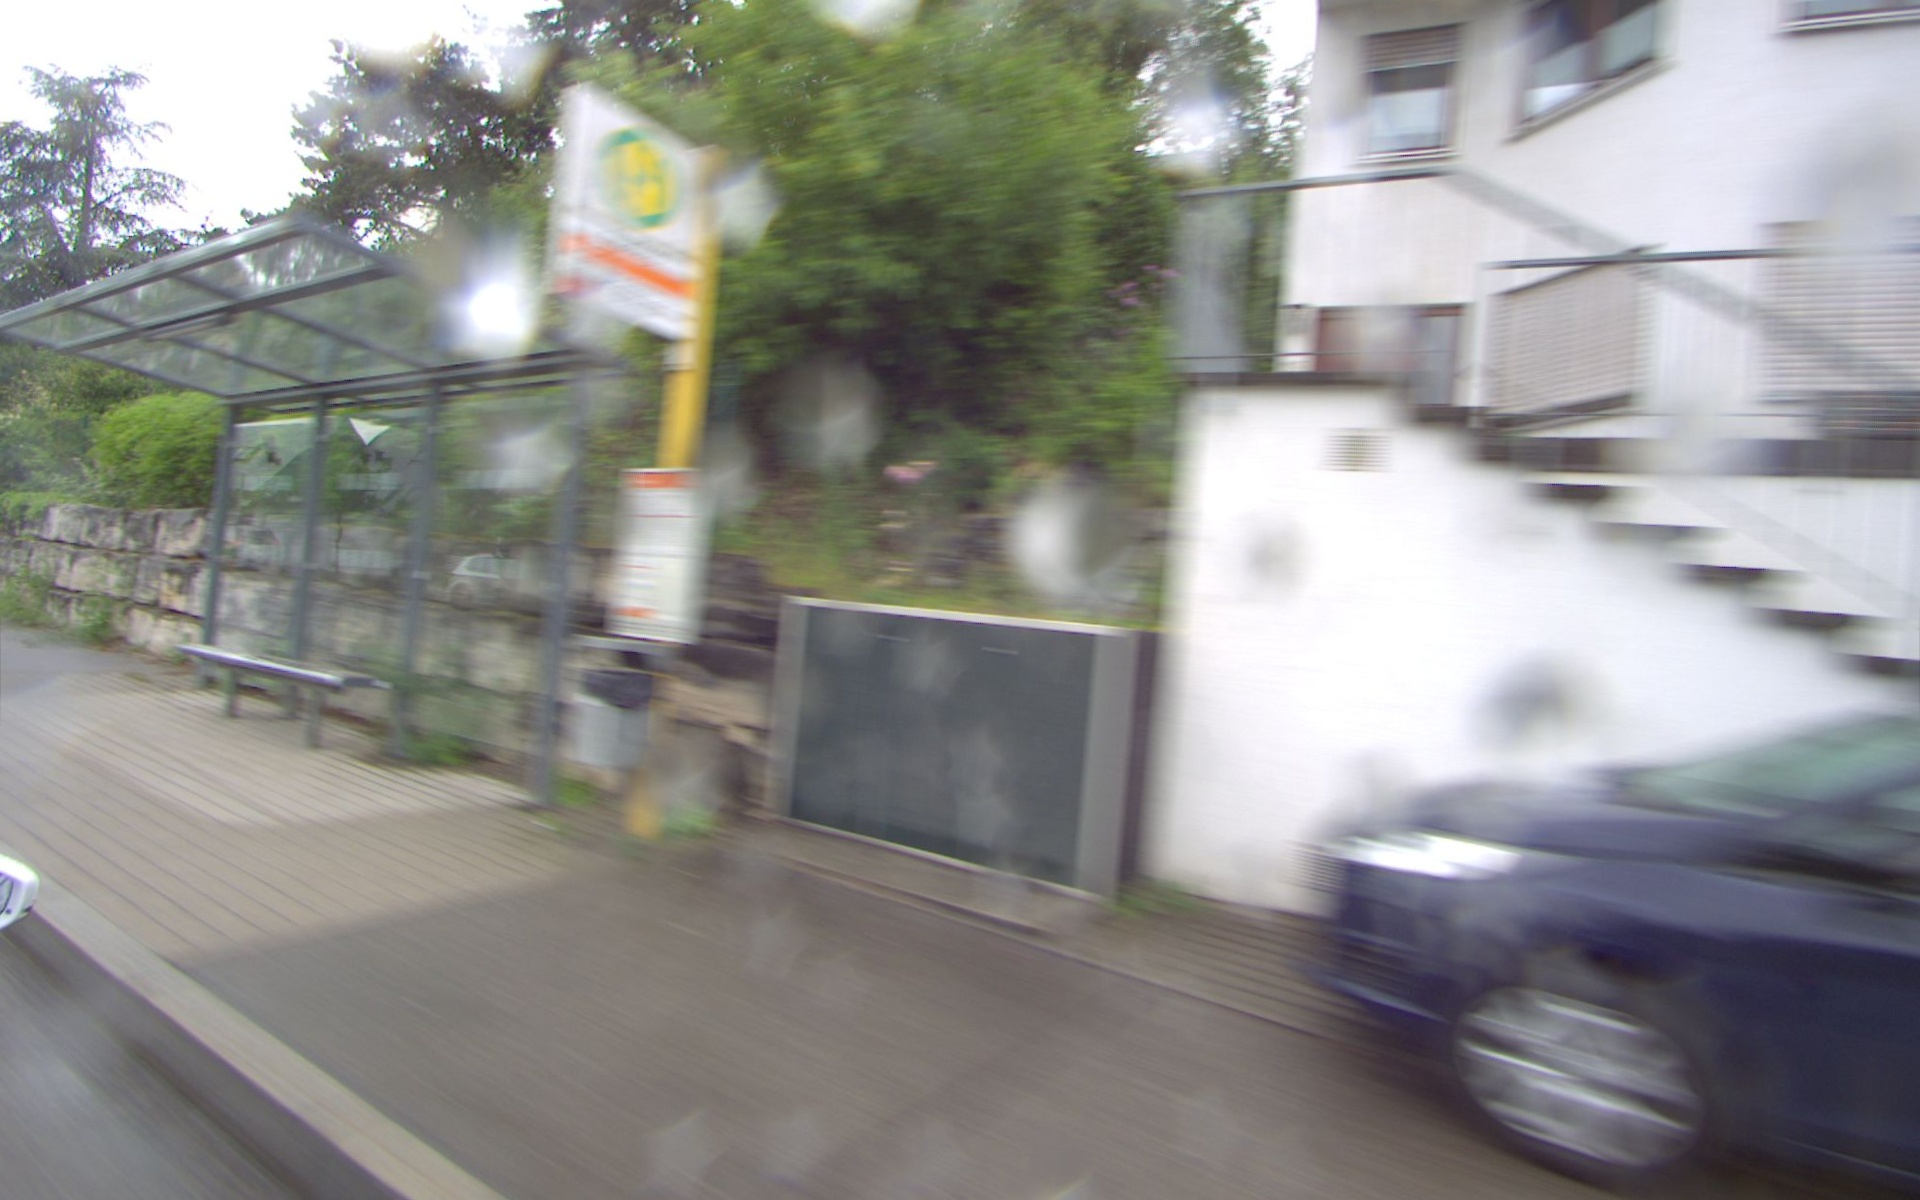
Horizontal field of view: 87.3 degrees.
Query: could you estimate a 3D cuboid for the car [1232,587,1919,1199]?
[{"bbox_3d":[3.017,0.916,2.836,3.951,1.473,1.707,6,1,28],"label":"car"}]
